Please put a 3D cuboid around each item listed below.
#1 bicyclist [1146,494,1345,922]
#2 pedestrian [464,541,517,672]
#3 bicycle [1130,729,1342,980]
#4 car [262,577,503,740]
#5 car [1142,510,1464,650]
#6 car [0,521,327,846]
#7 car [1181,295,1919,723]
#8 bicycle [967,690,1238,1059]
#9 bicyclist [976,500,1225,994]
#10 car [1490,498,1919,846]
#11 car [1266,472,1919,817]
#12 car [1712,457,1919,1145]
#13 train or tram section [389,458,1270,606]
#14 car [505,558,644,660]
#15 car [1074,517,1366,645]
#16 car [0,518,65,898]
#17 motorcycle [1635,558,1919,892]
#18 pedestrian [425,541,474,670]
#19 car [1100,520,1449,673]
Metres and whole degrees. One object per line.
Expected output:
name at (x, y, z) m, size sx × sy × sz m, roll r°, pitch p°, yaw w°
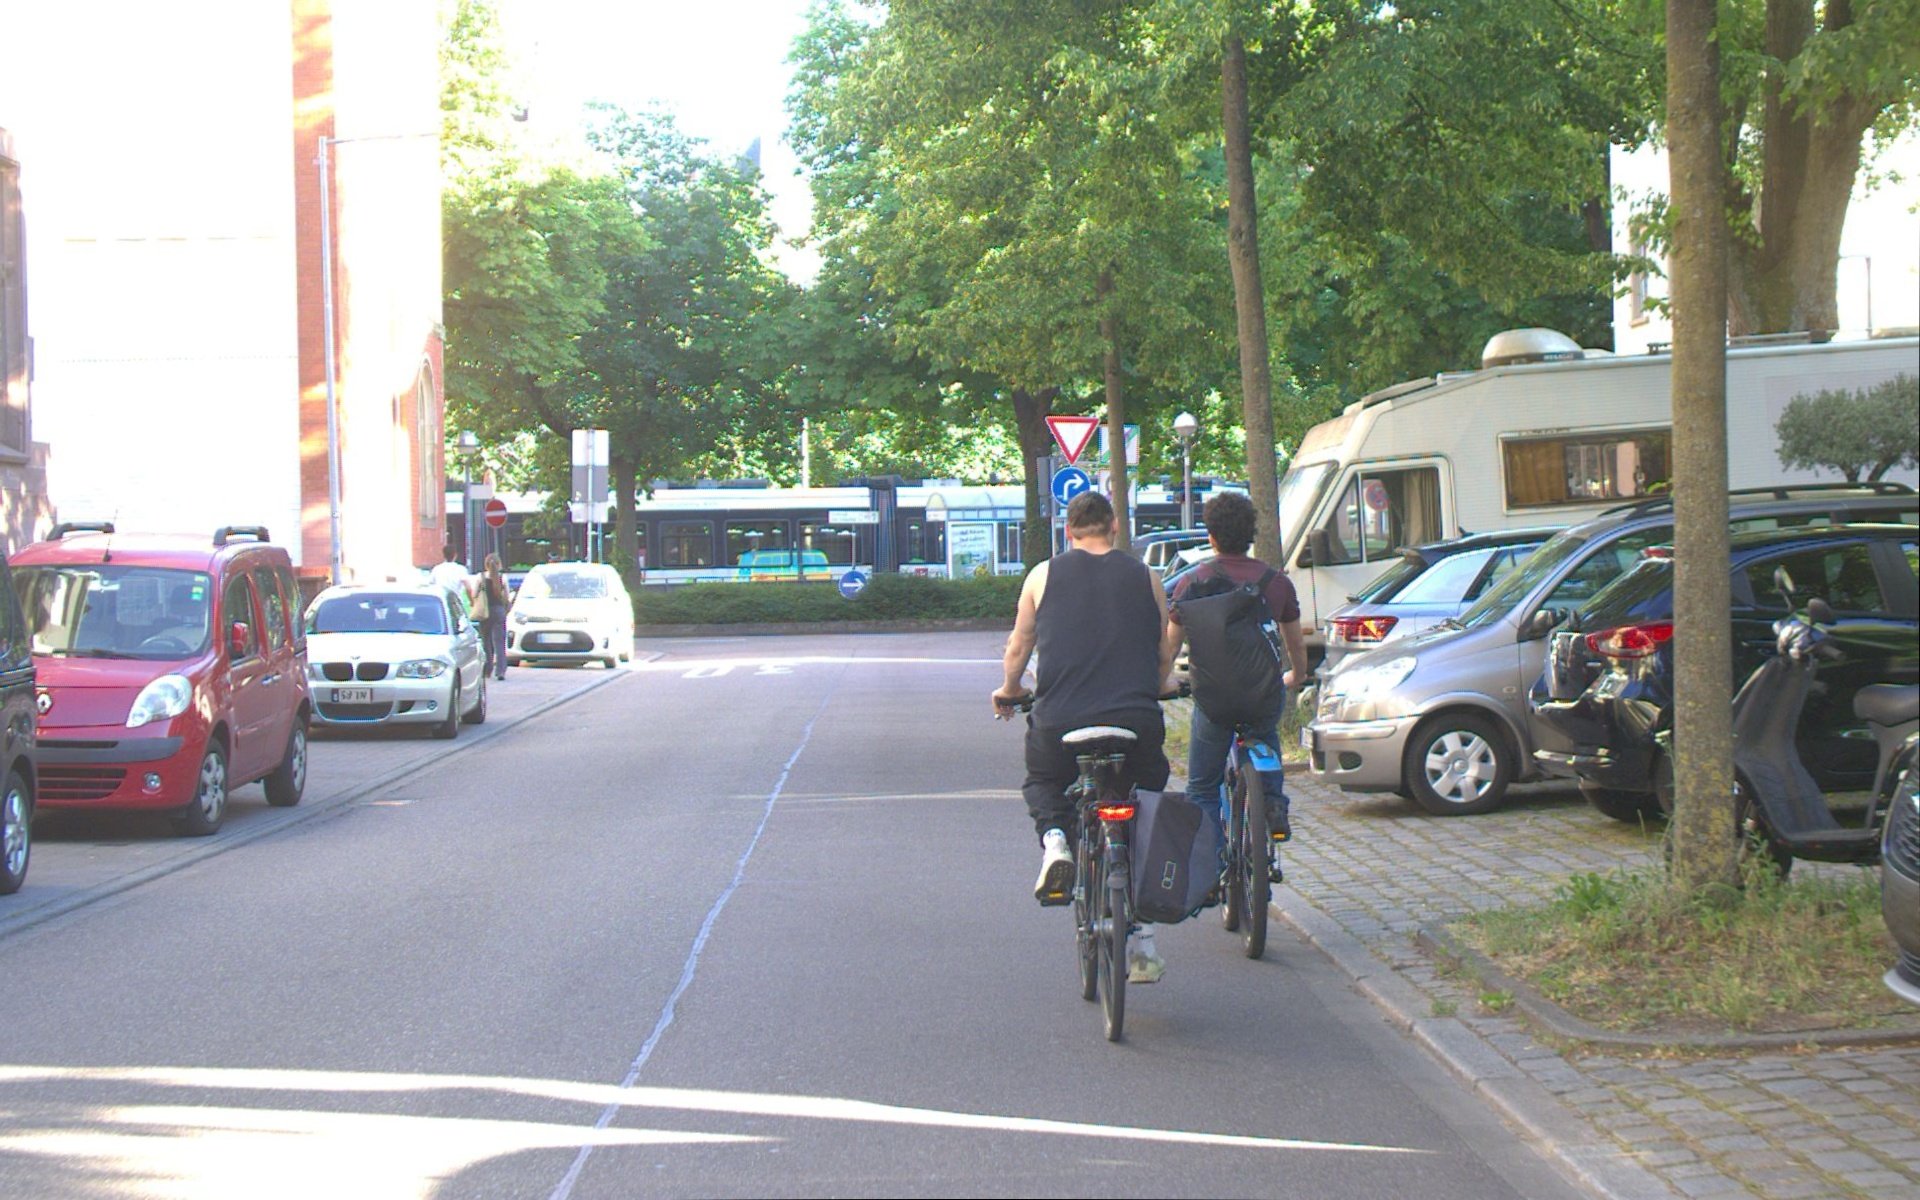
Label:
bicyclist at (1.106, 0.402, 13.499) m, size 0.689 × 1.621 × 0.998 m, roll 0°, pitch 1°, yaw 0°
pedestrian at (-6.017, 0.085, 44.098) m, size 0.609 × 1.673 × 0.518 m, roll 0°, pitch 0°, yaw 0°
bicycle at (1.056, 0.964, 13.488) m, size 0.633 × 0.796 × 1.833 m, roll -2°, pitch 1°, yaw -1°
car at (-5.391, 0.505, 32.525) m, size 1.583 × 1.339 × 4.131 m, roll 1°, pitch 1°, yaw 0°
car at (4.484, -0.256, 45.291) m, size 3.986 × 1.797 × 1.834 m, roll 0°, pitch 0°, yaw -3°
car at (-5.238, 0.427, 21.715) m, size 1.688 × 1.819 × 4.273 m, roll 1°, pitch 1°, yaw 0°
car at (5.527, -0.756, 27.250) m, size 7.146 × 2.968 × 2.465 m, roll -3°, pitch 1°, yaw -3°
bicycle at (0.433, 0.852, 11.341) m, size 0.737 × 1.050 × 1.956 m, roll 1°, pitch 0°, yaw -2°
bicyclist at (0.443, 0.461, 11.239) m, size 0.729 × 1.542 × 0.884 m, roll 1°, pitch 0°, yaw -2°
car at (4.896, 0.315, 17.183) m, size 4.138 × 1.594 × 1.702 m, roll -2°, pitch -1°, yaw -3°
car at (3.944, 0.210, 19.681) m, size 4.082 × 1.644 × 1.641 m, roll -4°, pitch 1°, yaw -2°
car at (4.198, 0.420, 8.794) m, size 4.139 × 1.594 × 1.702 m, roll -2°, pitch -1°, yaw 1°
train or tram section at (-3.189, -1.710, 92.868) m, size 23.800 × 3.696 × 4.287 m, roll 0°, pitch 0°, yaw -23°
car at (-5.629, 0.103, 50.553) m, size 1.583 × 1.371 × 4.131 m, roll 1°, pitch 1°, yaw 0°
car at (3.706, -0.276, 49.419) m, size 3.986 × 1.797 × 1.834 m, roll 0°, pitch 0°, yaw -3°
car at (-5.281, 0.508, 14.962) m, size 1.640 × 1.777 × 4.354 m, roll 1°, pitch 1°, yaw 0°
motorcycle at (3.291, 0.425, 12.171) m, size 1.605 × 1.137 × 0.671 m, roll -1°, pitch 1°, yaw 33°
pedestrian at (-6.991, 0.070, 47.102) m, size 0.609 × 1.756 × 0.432 m, roll 0°, pitch 0°, yaw 0°
car at (3.758, -0.046, 41.534) m, size 3.986 × 1.797 × 1.834 m, roll 0°, pitch 0°, yaw -3°
